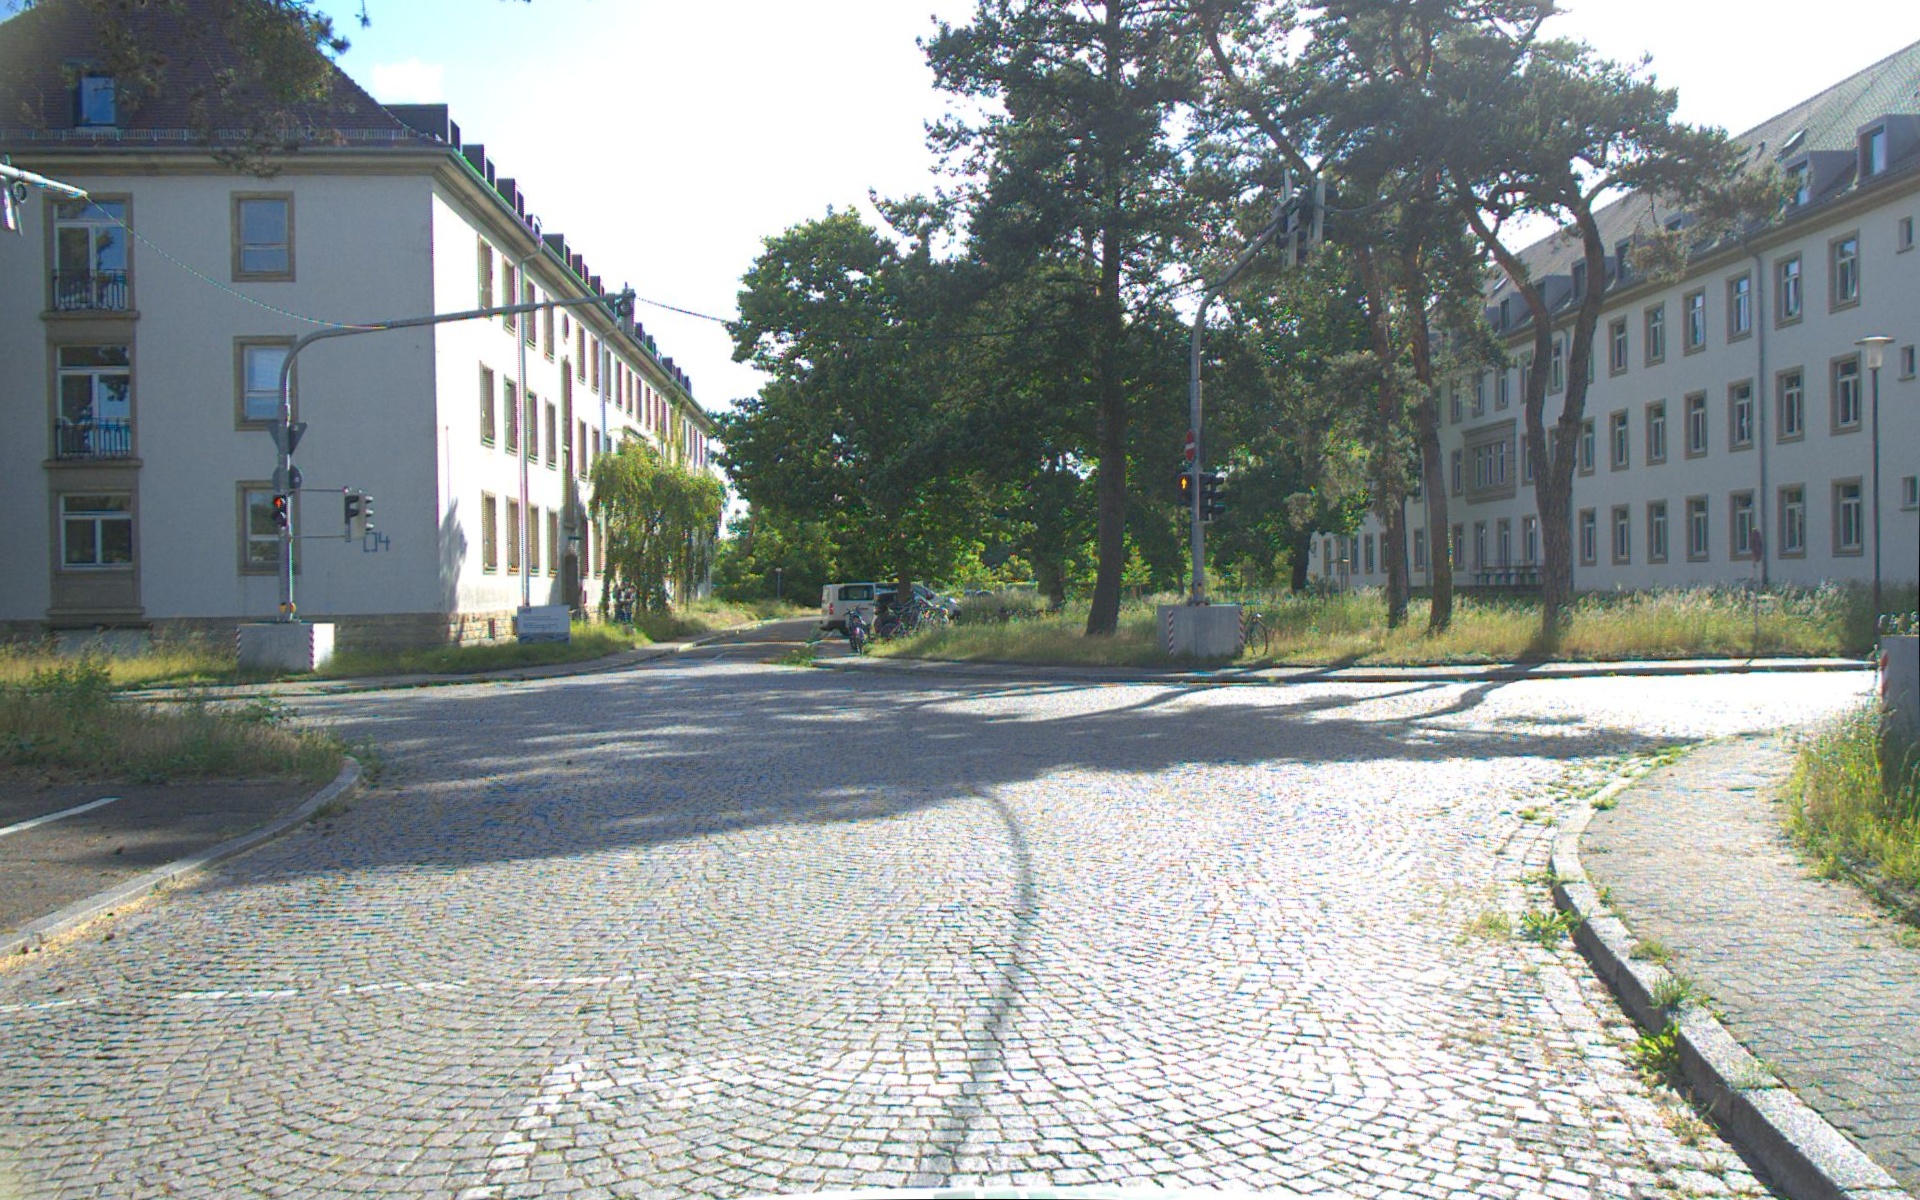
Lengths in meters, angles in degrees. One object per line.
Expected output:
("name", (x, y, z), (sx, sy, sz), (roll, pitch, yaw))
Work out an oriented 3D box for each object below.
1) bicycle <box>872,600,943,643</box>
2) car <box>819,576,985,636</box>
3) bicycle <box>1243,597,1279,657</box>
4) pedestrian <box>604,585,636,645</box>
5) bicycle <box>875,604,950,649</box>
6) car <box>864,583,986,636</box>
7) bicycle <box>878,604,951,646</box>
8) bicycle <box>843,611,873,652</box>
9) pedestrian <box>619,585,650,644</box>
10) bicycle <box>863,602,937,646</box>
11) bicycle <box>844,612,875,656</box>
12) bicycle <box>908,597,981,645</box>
("bicycle", (-1.471, 0.588, 45.900), (1.904, 1.149, 0.646), (-1, 0, -9))
("car", (-2.173, 0.202, 60.718), (5.823, 2.049, 2.469), (-1, 0, -10))
("bicycle", (5.639, 0.496, 31.037), (0.456, 1.099, 1.174), (-1, 0, 1))
("pedestrian", (-10.646, 0.460, 51.802), (0.794, 1.849, 0.555), (-1, 0, 8))
("bicycle", (-1.261, 0.686, 43.599), (1.903, 1.149, 0.749), (-1, 0, -6))
("car", (-1.215, 0.320, 56.557), (3.915, 1.713, 1.842), (-1, 0, -11))
("bicycle", (-1.188, 0.644, 42.807), (1.819, 1.049, 0.749), (-1, 0, -6))
("bicycle", (-2.547, 0.770, 41.189), (0.682, 0.988, 1.859), (0, 0, -5))
("pedestrian", (-10.342, 0.450, 52.516), (0.751, 1.849, 0.683), (-1, 0, 8))
("bicycle", (-1.617, 0.640, 44.798), (1.920, 1.149, 0.641), (-1, 0, -30))
("bicycle", (-2.390, 0.787, 39.260), (0.682, 0.988, 1.859), (0, 0, -5))
("bicycle", (-0.408, 0.555, 44.349), (1.903, 1.257, 0.484), (-1, 0, -6))
